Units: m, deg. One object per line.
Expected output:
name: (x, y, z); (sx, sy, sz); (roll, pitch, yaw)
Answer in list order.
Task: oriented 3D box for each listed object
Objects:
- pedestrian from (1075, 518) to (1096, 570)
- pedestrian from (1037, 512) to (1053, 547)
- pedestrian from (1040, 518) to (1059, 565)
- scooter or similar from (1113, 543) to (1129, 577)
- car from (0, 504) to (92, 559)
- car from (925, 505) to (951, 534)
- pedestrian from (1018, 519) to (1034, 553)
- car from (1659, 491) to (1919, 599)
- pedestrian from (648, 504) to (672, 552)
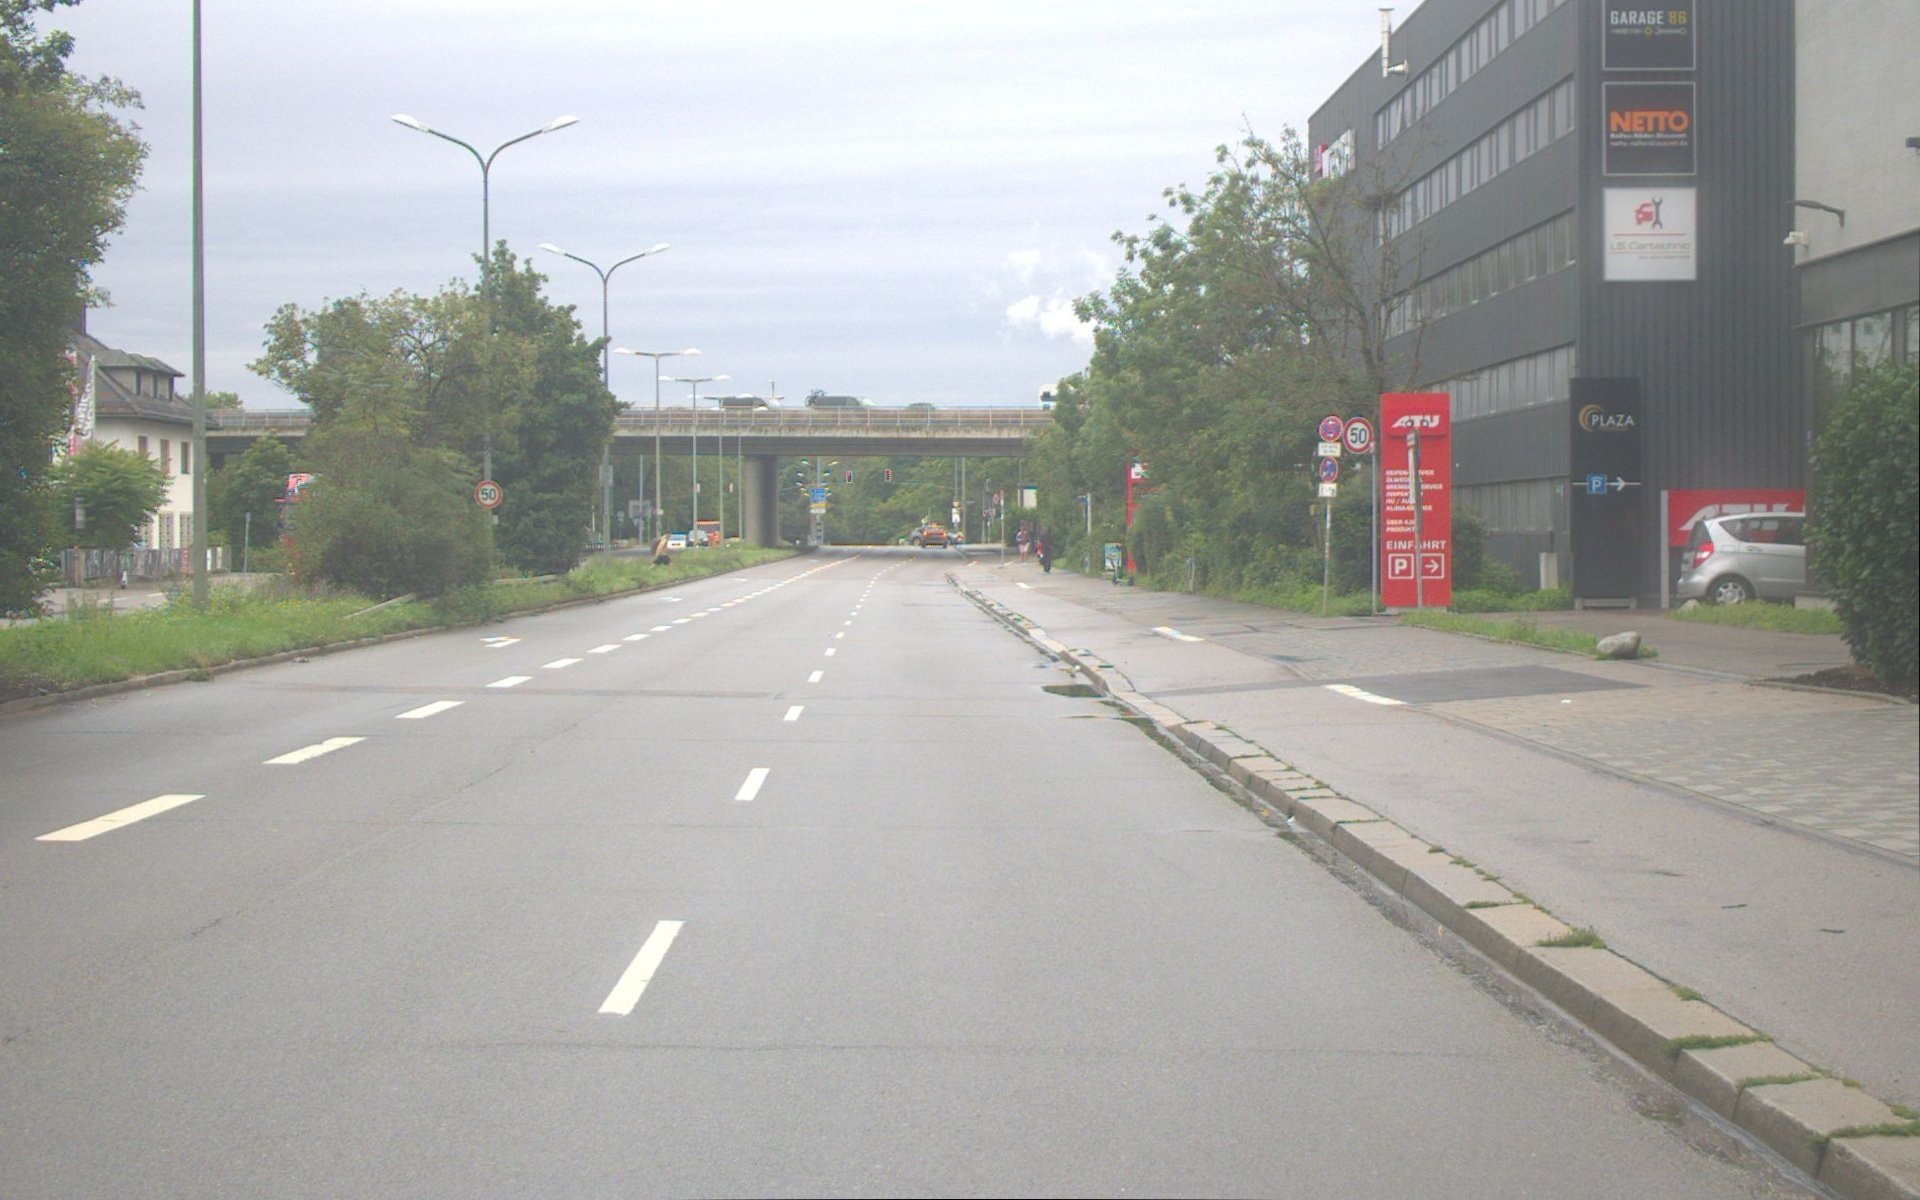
pedestrian: (4.640, -2.064, 126.829); (0.688, 1.869, 0.662); (-1, 1, -1)
pedestrian: (3.998, -3.306, 161.881); (0.688, 1.611, 0.662); (-1, 1, -1)
pedestrian: (3.588, -2.346, 137.273); (0.688, 1.869, 0.662); (-1, 1, -1)
scooter or similar: (4.844, -1.209, 103.433); (0.304, 1.000, 1.220); (-1, 1, -4)
car: (-30.394, -2.220, 111.777); (4.140, 1.702, 1.850); (-2, 1, -13)
car: (-1.563, -5.804, 247.661); (1.812, 2.007, 3.834); (1, 1, 1)
pedestrian: (3.136, -3.030, 162.849); (0.688, 1.611, 0.662); (-1, 1, -1)
car: (12.735, -0.838, 51.810); (4.013, 1.552, 1.820); (1, 1, 1)
pedestrian: (-10.184, -2.449, 116.738); (0.660, 1.611, 0.691); (-1, 1, 4)
